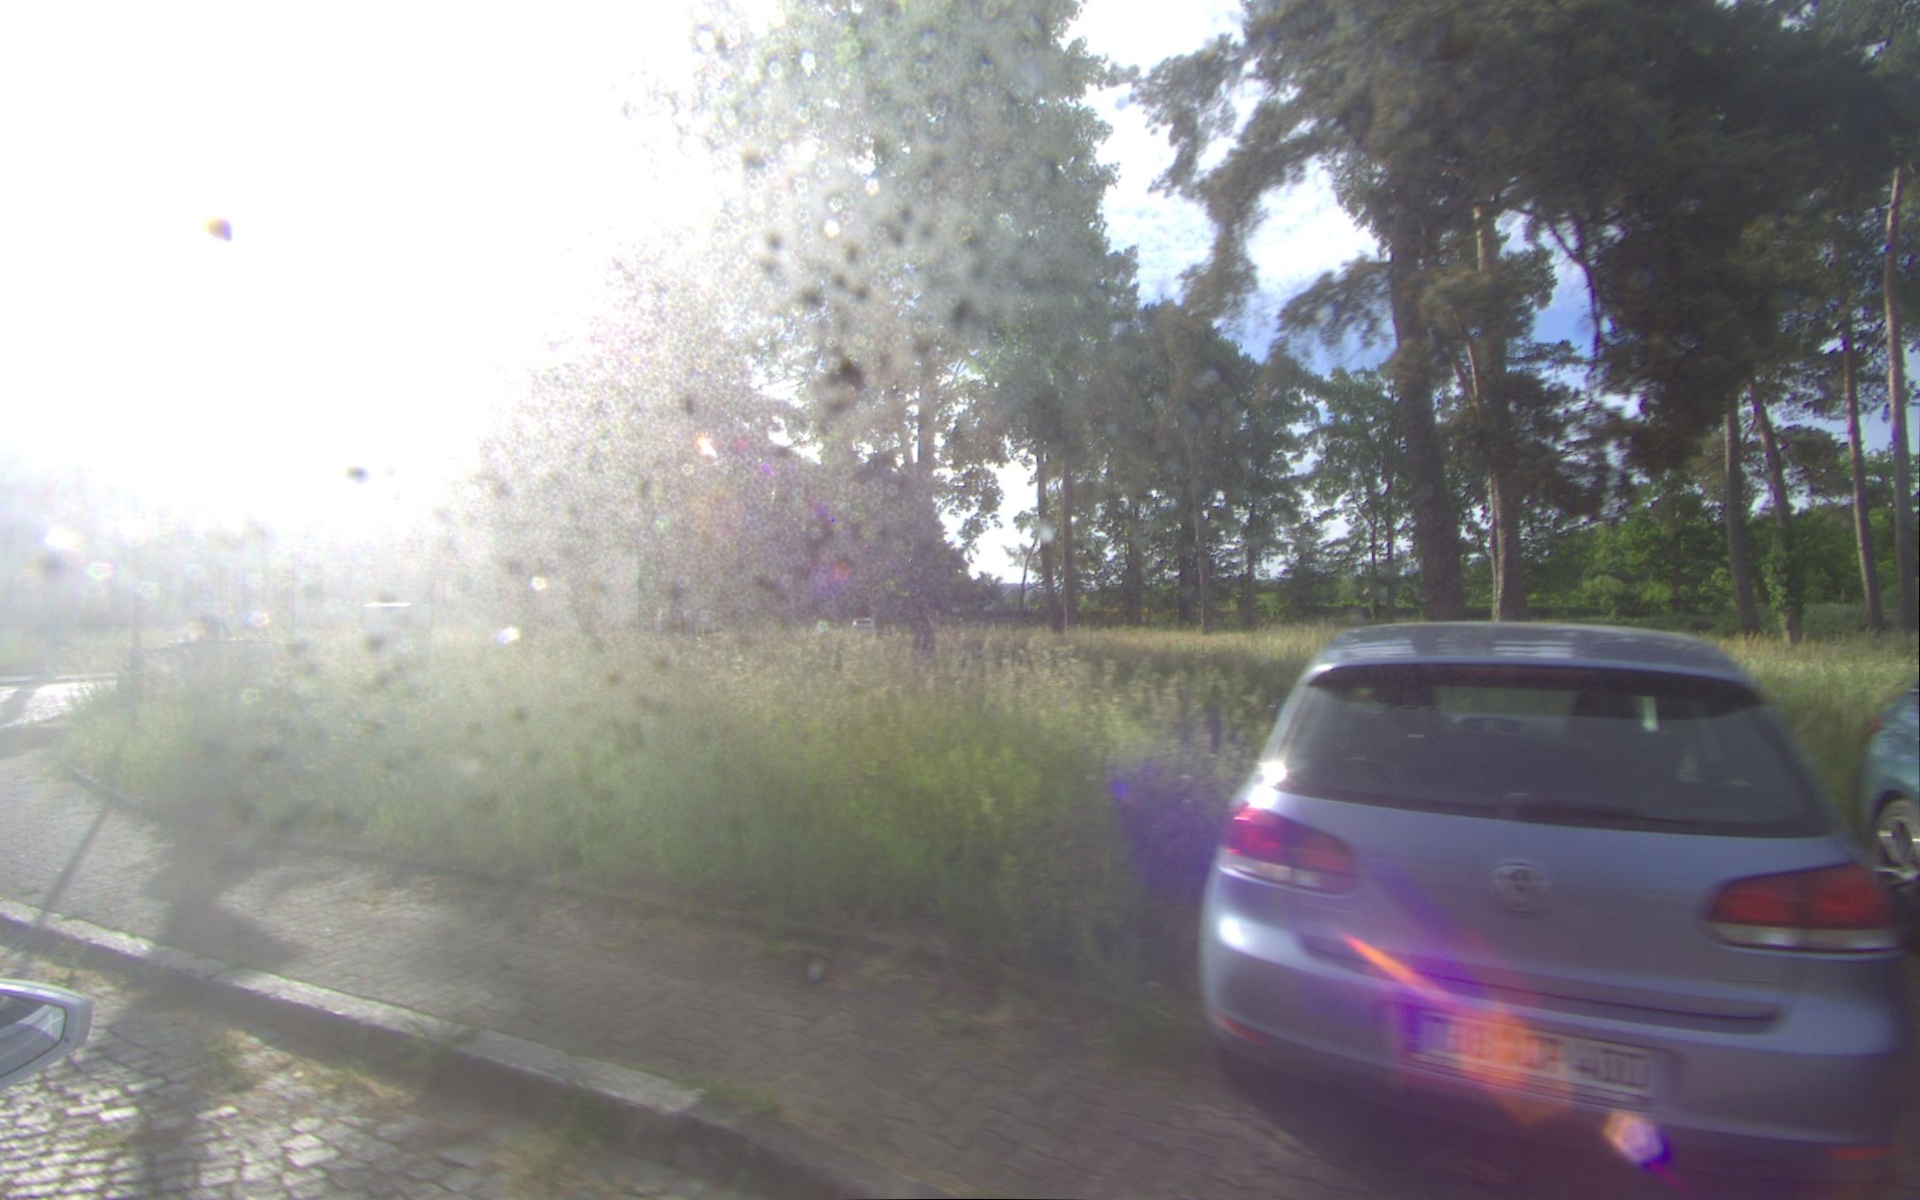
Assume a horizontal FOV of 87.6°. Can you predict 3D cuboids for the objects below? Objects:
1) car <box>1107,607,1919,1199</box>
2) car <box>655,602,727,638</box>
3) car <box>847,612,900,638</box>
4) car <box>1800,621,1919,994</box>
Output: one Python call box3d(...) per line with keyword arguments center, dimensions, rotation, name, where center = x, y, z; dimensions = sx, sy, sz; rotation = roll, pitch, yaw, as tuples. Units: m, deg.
box3d(center=(2.239, 0.807, 4.322), dimensions=(1.902, 1.525, 4.543), rotation=(-1, -1, 26), name="car")
box3d(center=(-20.030, 1.499, 74.730), dimensions=(2.230, 2.568, 5.154), rotation=(-1, -1, 29), name="car")
box3d(center=(-5.810, 1.681, 67.708), dimensions=(1.826, 1.701, 3.932), rotation=(-1, -1, 26), name="car")
box3d(center=(4.358, 0.834, 2.795), dimensions=(1.864, 1.493, 4.508), rotation=(-1, -1, 24), name="car")
